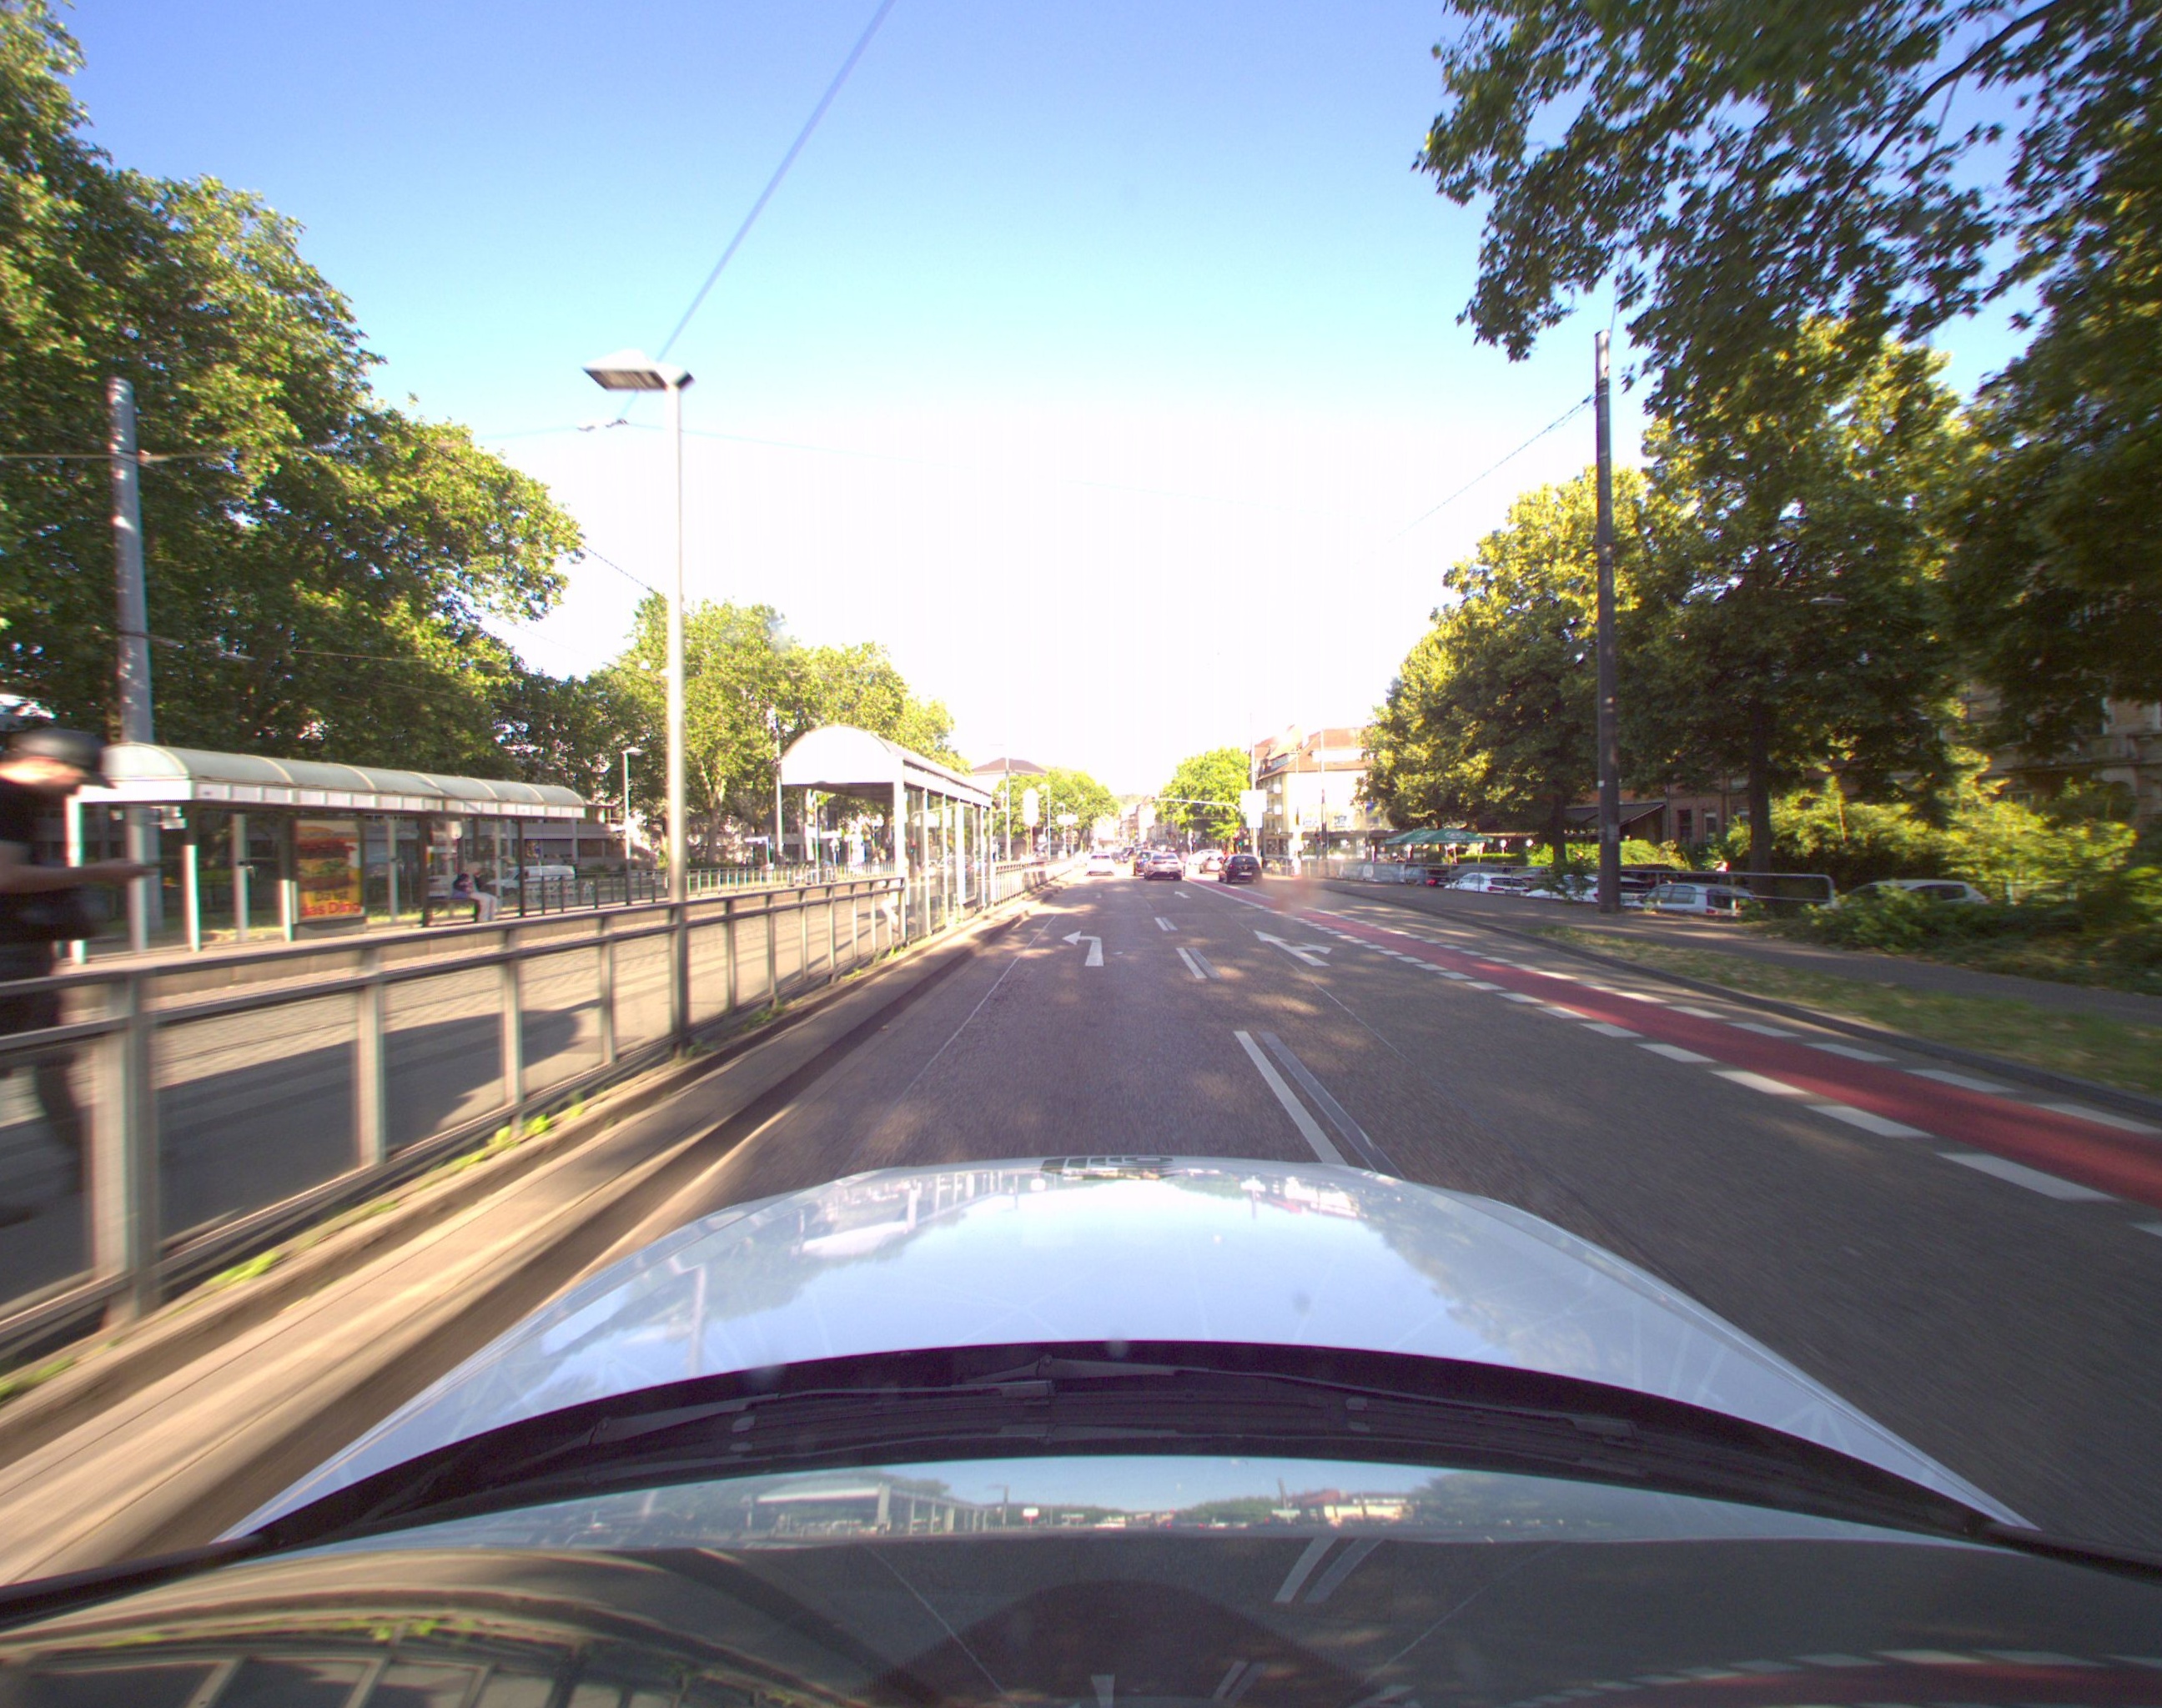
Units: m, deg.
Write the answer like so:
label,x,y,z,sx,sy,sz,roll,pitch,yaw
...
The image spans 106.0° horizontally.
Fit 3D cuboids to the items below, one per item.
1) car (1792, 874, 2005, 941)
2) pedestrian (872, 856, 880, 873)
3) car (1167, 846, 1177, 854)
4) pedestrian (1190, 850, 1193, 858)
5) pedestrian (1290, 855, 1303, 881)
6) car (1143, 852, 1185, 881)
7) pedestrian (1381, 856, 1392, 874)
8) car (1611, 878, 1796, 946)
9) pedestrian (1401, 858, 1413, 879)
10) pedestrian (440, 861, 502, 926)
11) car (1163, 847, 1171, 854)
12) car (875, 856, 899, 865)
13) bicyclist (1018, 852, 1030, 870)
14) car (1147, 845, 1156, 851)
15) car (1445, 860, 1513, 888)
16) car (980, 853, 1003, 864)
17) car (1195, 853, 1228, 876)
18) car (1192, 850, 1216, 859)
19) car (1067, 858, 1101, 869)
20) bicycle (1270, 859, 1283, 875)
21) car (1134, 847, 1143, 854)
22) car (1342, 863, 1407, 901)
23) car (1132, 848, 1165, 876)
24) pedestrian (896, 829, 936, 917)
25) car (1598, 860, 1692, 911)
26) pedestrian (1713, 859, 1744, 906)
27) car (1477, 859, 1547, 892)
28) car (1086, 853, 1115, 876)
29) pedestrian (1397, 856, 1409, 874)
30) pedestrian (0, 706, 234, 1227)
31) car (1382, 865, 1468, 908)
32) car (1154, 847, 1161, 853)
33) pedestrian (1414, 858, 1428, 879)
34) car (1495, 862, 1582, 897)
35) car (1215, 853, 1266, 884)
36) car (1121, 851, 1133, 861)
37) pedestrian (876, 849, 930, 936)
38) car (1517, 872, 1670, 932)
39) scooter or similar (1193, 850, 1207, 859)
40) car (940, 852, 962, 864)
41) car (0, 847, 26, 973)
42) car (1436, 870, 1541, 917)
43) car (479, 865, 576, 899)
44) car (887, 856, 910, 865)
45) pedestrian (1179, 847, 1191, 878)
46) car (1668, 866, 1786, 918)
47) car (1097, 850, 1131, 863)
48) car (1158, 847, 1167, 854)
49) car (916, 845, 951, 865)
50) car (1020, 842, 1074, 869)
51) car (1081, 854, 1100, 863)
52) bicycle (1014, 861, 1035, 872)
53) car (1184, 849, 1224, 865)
label,x,y,z,sx,sy,sz,roll,pitch,yaw
car,21.888,1.390,21.915,3.975,1.513,1.800,-2,1,-1
pedestrian,-18.412,0.935,73.050,0.533,1.552,0.677,-1,0,1
car,22.063,-1.024,198.034,2.097,1.776,4.343,-1,0,1
pedestrian,25.593,-0.013,189.419,0.644,1.651,0.652,0,-1,12
pedestrian,13.316,0.867,50.277,0.642,1.563,0.635,2,0,20
car,4.484,0.632,44.672,1.922,1.472,4.856,-1,0,2
pedestrian,23.259,0.850,62.025,0.645,1.338,0.632,2,0,2
car,14.953,1.333,19.823,1.788,1.441,3.576,0,-1,0
pedestrian,21.622,0.959,54.023,0.642,1.338,0.636,2,0,32
pedestrian,-13.028,0.831,17.407,0.667,1.324,0.757,-4,0,0
car,21.568,-0.887,204.577,1.788,1.510,4.001,-1,0,1
car,-33.812,1.105,142.070,1.778,1.510,4.023,-1,0,25
bicyclist,-4.447,0.567,63.678,0.793,1.414,0.530,-1,0,28
car,22.059,-1.824,255.021,2.318,2.013,4.978,-1,0,1
car,22.561,1.129,46.155,4.018,1.348,1.760,-3,1,-36
car,-14.535,0.734,132.192,1.904,1.649,4.203,-1,0,22
car,9.357,0.702,58.599,1.787,1.510,4.002,-1,1,1
car,21.177,0.138,140.209,4.021,1.510,1.779,-1,0,-40
car,0.287,0.954,83.287,2.914,1.162,2.059,0,-1,-22
bicycle,13.146,0.852,54.847,0.496,1.075,1.801,0,-1,2
car,12.503,-0.722,176.592,1.788,1.510,4.000,-1,0,1
car,15.194,1.409,42.400,1.789,1.898,4.358,0,-1,0
car,4.270,0.485,51.910,1.794,1.638,4.046,-1,0,1
pedestrian,-3.205,0.357,15.823,0.592,1.678,0.590,0,-1,6
car,22.095,1.177,31.876,4.018,1.735,1.780,-3,1,-36
pedestrian,24.997,1.091,31.453,0.646,1.746,0.631,-1,0,-3
car,22.850,1.095,43.130,4.019,1.480,1.780,-3,1,-38
car,1.285,0.668,53.701,1.802,1.452,4.001,0,0,1
pedestrian,24.150,0.837,61.038,0.645,1.338,0.632,2,0,2
pedestrian,-3.722,0.370,3.013,0.656,1.722,0.703,1,-1,-34
car,15.332,1.385,36.539,1.791,1.803,4.203,0,-1,-5
car,21.597,-1.126,229.991,1.788,1.522,4.001,-1,0,1
pedestrian,21.810,0.938,52.214,0.645,1.338,0.632,2,0,2
car,22.258,1.202,39.615,4.266,1.406,1.944,-3,1,-33
car,7.746,0.655,39.820,1.793,1.439,4.046,0,0,2
car,9.191,0.422,162.037,1.782,1.826,4.013,-1,0,12
pedestrian,-2.732,0.584,12.553,0.676,1.309,0.593,0,-1,2
car,15.067,1.342,24.281,1.787,1.579,4.554,0,-1,1
scooter or similar,16.022,0.086,109.676,1.926,1.280,0.557,-1,0,43
car,-21.716,0.692,135.977,1.779,1.955,4.020,-1,0,20
car,-19.283,0.964,11.493,2.060,2.124,5.089,-3,-1,0
car,15.028,1.420,30.293,1.787,1.579,4.444,0,-1,1
car,-41.906,2.103,61.853,2.131,2.335,5.756,-1,0,25
car,-31.457,1.082,140.651,1.778,1.510,4.023,-1,0,25
pedestrian,6.513,0.535,51.124,0.654,1.871,0.678,-1,0,1
car,22.569,1.277,28.427,4.010,1.513,1.784,-3,1,-28
car,4.021,0.293,99.478,3.949,1.510,1.811,-1,0,41
car,21.081,-0.902,210.752,1.788,1.510,4.001,-1,0,1
car,-24.814,0.174,137.044,2.473,3.165,6.572,-1,0,24
car,-3.405,0.169,81.795,5.034,2.743,2.059,0,-1,-22
car,1.673,0.768,140.702,1.707,1.510,3.899,-2,-1,26
bicycle,-4.442,0.949,63.677,1.596,0.816,0.530,-1,0,28
car,13.031,0.318,86.580,4.124,1.692,1.825,0,0,7
